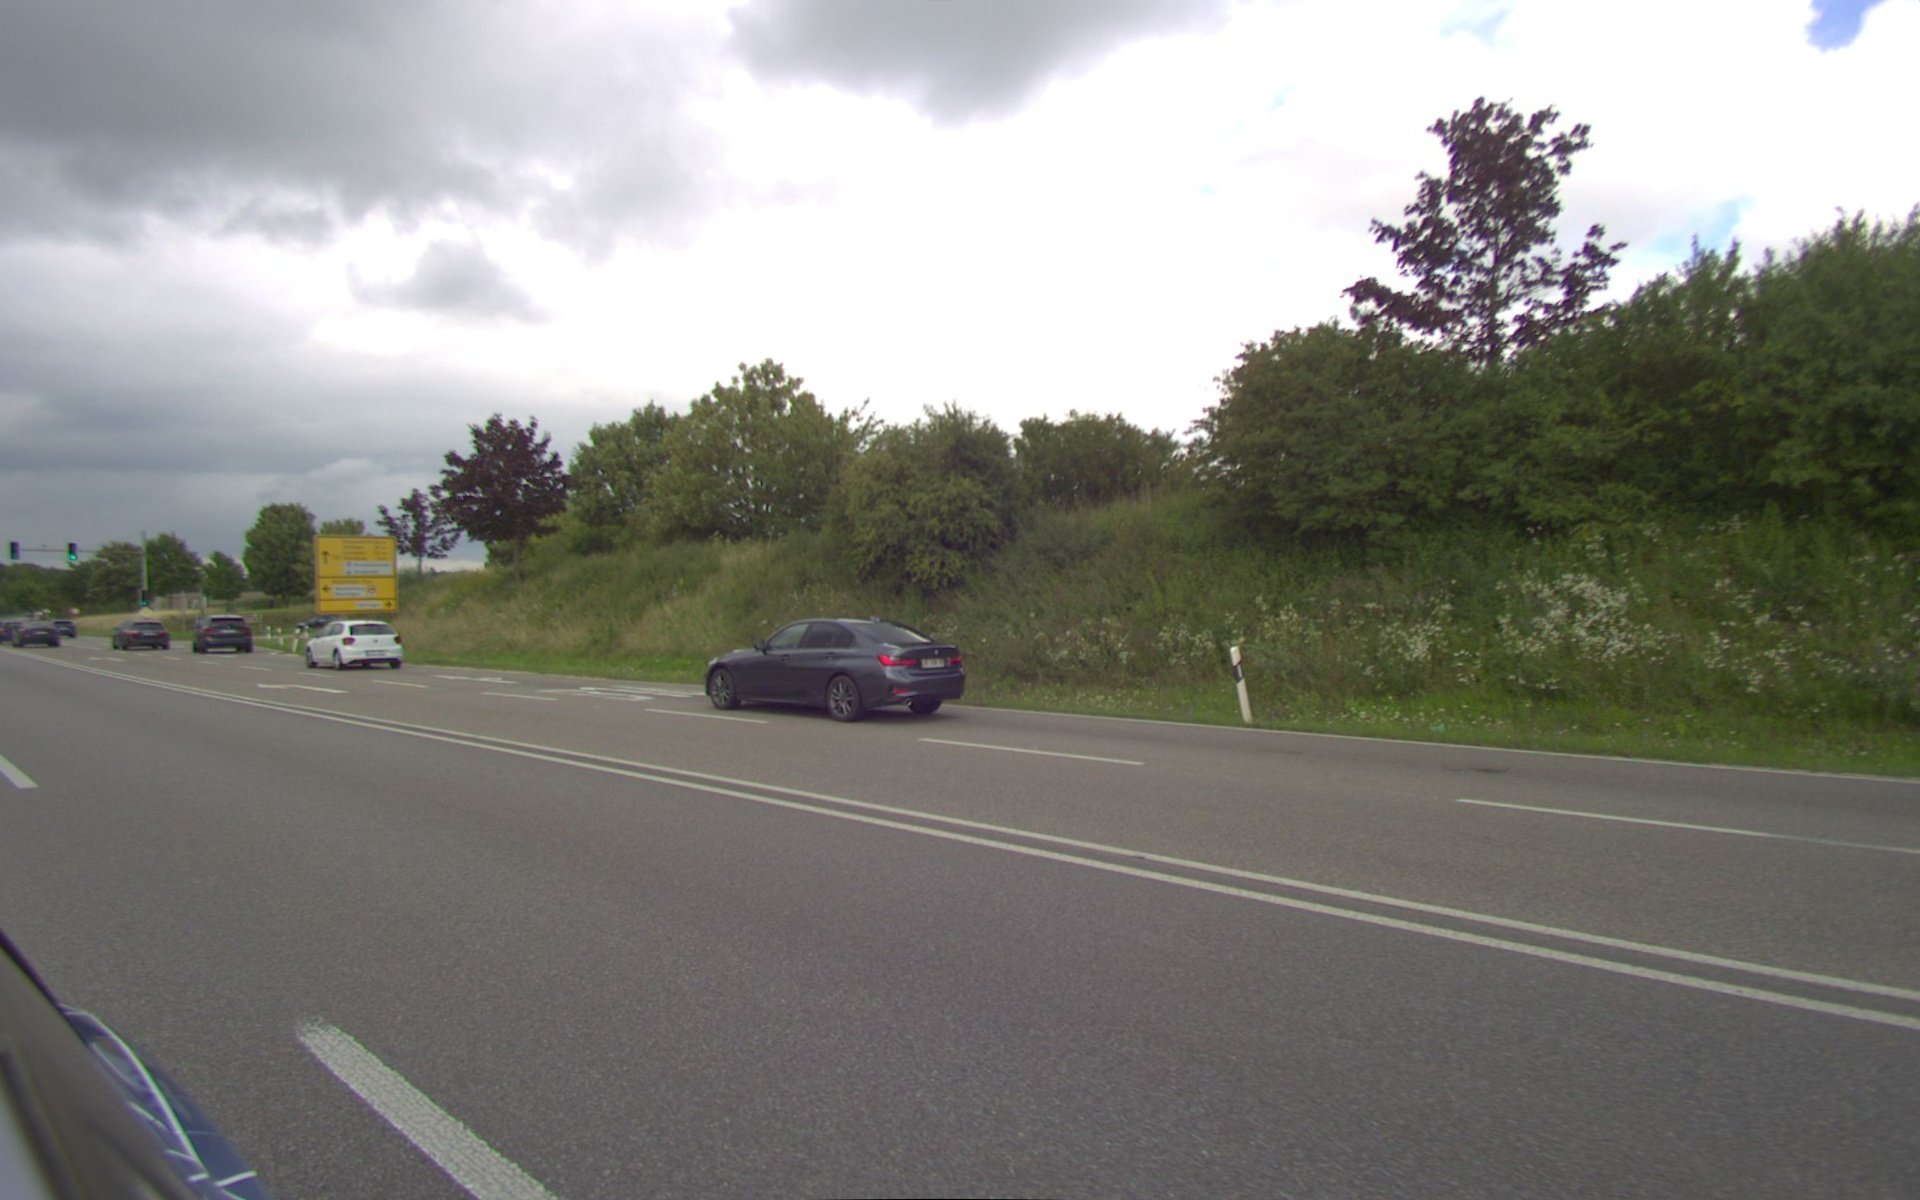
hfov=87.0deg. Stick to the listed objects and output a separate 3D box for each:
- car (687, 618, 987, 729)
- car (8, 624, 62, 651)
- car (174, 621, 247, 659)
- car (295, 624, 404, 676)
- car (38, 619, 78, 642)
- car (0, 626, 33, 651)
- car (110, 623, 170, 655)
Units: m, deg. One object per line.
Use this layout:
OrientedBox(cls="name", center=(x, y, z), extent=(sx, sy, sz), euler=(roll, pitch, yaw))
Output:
OrientedBox(cls="car", center=(-1.966, 1.009, 15.192), extent=(4.702, 1.416, 1.775), euler=(-2, -2, 41))
OrientedBox(cls="car", center=(-50.706, 2.024, 55.452), extent=(4.185, 1.418, 1.835), euler=(-2, -2, 43))
OrientedBox(cls="car", center=(-33.107, 1.731, 44.659), extent=(4.398, 1.608, 1.835), euler=(-2, -2, 43))
OrientedBox(cls="car", center=(-18.406, 1.455, 30.442), extent=(4.053, 1.425, 1.591), euler=(-2, -1, 41))
OrientedBox(cls="car", center=(-71.970, 2.404, 80.720), extent=(4.127, 1.729, 1.832), euler=(-2, 0, 41))
OrientedBox(cls="car", center=(-58.811, 2.367, 62.613), extent=(4.000, 1.460, 1.835), euler=(-2, -2, 43))
OrientedBox(cls="car", center=(-40.778, 1.917, 50.273), extent=(4.659, 1.492, 1.704), euler=(-2, -2, 43))
